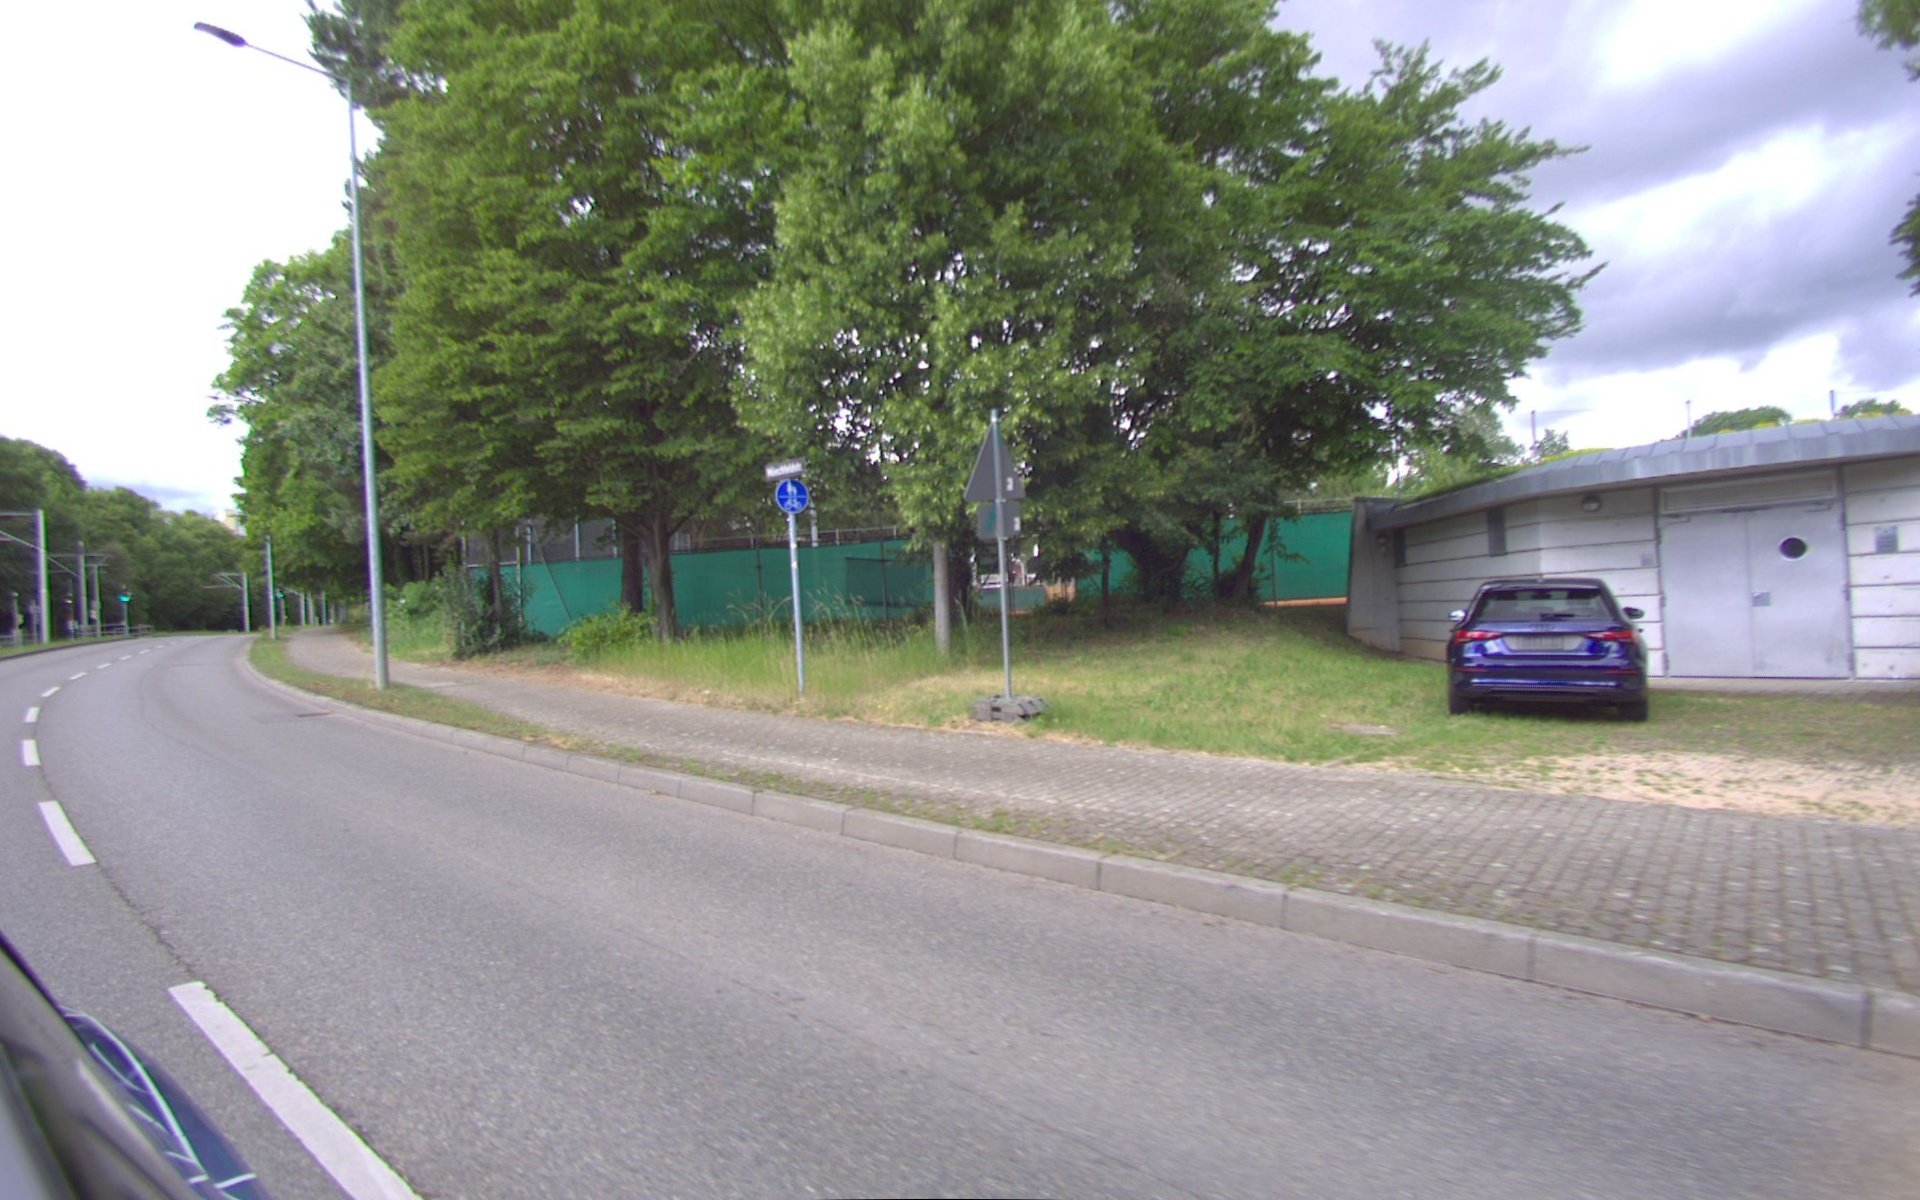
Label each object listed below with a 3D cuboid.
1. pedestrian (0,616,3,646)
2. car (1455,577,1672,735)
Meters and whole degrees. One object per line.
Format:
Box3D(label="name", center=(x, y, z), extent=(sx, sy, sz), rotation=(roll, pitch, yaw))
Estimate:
Box3D(label="pedestrian", center=(-57.835, 1.907, 60.363), extent=(0.972, 1.771, 0.731), rotation=(-4, 0, -40))
Box3D(label="car", center=(6.525, 0.445, 11.090), extent=(1.711, 1.336, 3.960), rotation=(1, 2, 30))
